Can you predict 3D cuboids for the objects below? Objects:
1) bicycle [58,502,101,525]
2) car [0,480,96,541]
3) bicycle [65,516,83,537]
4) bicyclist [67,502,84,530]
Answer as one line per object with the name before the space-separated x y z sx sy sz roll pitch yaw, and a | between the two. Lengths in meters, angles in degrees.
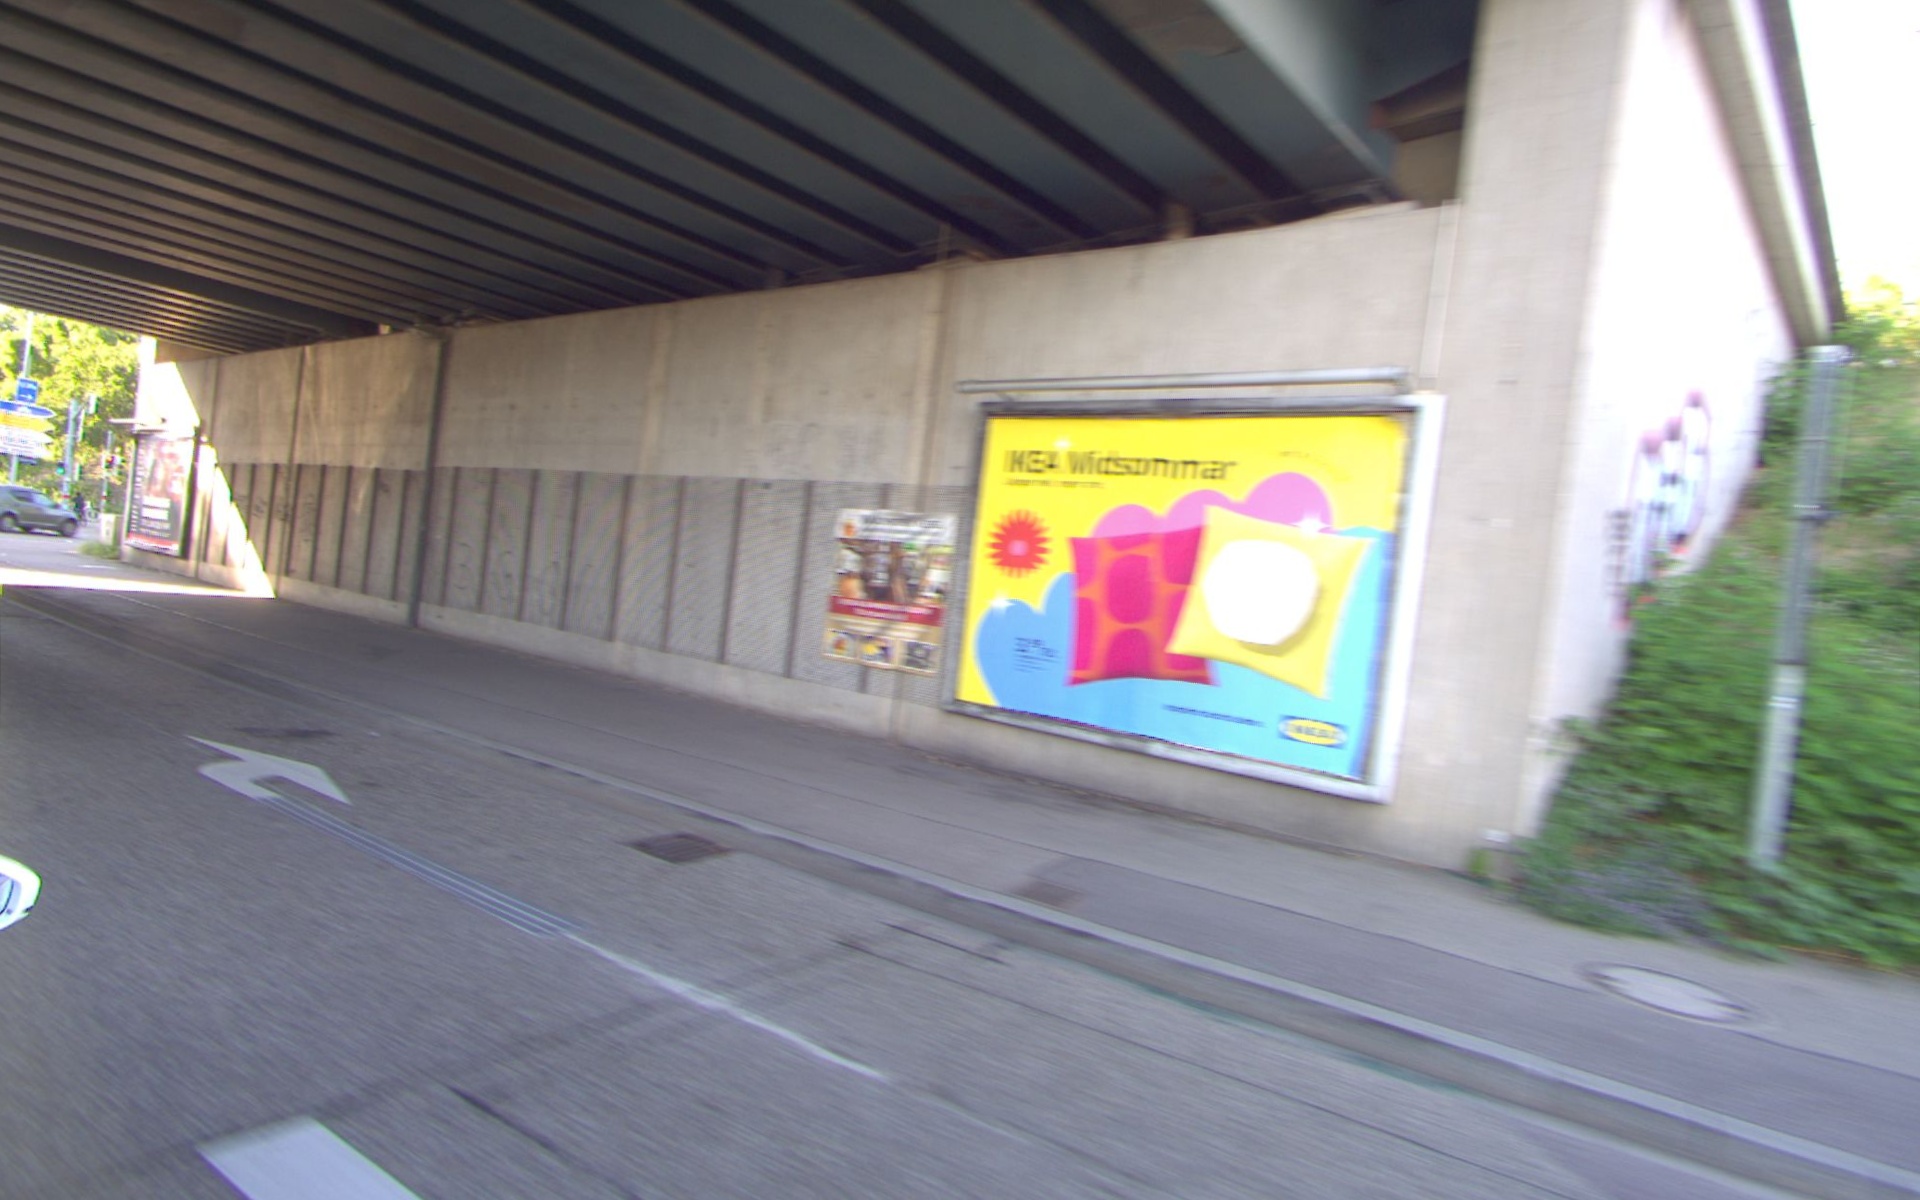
bicycle | -47.903 -4.720 54.767 1.653 1.004 0.572 7 3 -36
car | -32.694 -3.185 35.087 1.712 1.649 4.061 7 -2 -6
bicycle | -44.597 -3.694 50.625 1.011 0.925 0.437 6 -1 38
bicyclist | -44.528 -4.237 50.638 0.453 1.324 0.427 6 -1 38
